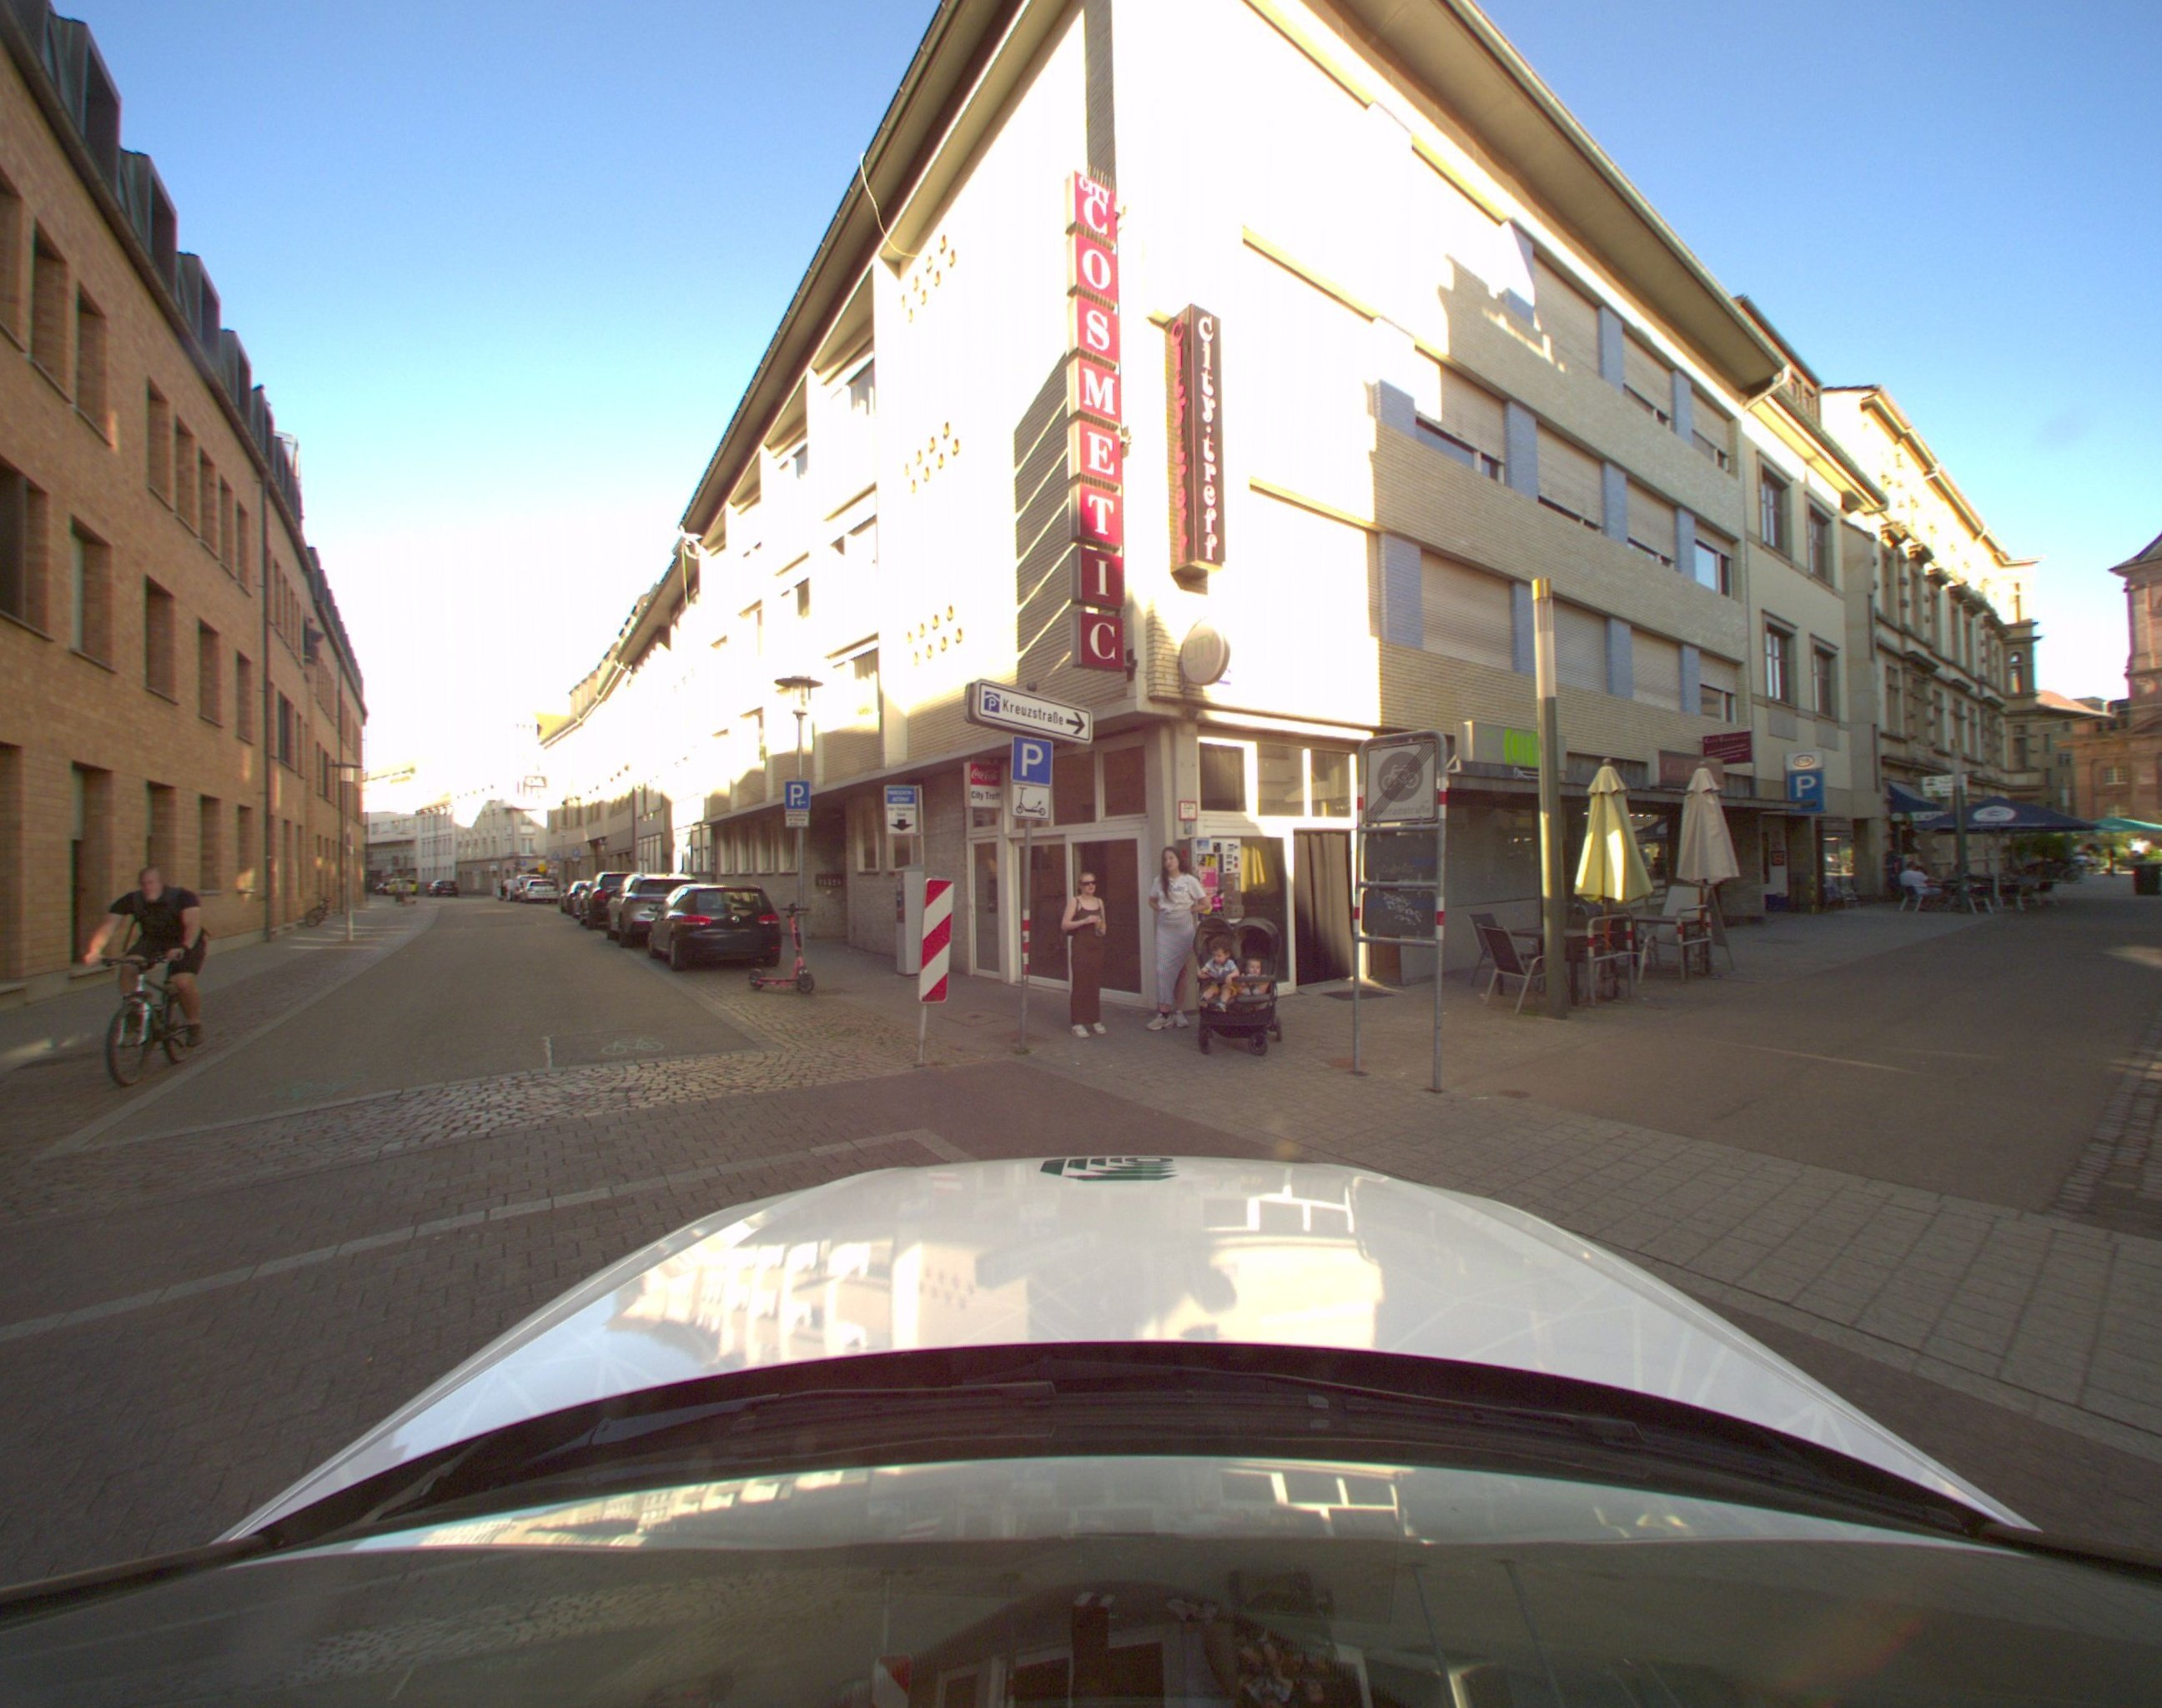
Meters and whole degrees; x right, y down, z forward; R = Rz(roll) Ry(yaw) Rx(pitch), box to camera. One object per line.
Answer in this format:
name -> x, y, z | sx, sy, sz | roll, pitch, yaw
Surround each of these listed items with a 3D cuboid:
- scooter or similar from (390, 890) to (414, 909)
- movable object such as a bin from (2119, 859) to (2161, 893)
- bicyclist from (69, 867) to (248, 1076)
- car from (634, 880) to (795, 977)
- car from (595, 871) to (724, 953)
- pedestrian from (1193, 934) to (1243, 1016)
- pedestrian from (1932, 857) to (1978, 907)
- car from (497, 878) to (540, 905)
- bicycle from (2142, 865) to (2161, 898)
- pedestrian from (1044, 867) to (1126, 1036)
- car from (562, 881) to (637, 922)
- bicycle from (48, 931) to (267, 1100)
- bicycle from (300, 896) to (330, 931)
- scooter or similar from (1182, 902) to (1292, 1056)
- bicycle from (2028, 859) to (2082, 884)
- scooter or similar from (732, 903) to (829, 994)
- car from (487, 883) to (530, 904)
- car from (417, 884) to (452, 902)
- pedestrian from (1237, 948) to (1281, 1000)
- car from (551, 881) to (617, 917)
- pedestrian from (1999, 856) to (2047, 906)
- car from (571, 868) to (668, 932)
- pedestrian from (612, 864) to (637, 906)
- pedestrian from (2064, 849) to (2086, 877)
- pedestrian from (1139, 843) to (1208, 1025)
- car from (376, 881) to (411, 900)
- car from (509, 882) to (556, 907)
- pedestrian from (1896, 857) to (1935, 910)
scooter or similar -> -46.057, 3.096, 55.268 | 0.698, 1.217, 1.351 | -2, -1, -13
movable object such as a bin -> 35.328, 0.727, 27.137 | 0.784, 1.123, 0.895 | 0, -2, -38
bicyclist -> -8.028, 0.967, 7.142 | 0.666, 1.642, 0.917 | -5, 0, -29
car -> -6.970, 1.265, 15.199 | 1.836, 1.505, 4.549 | 3, -3, -35
car -> -10.191, 1.304, 19.481 | 2.008, 1.702, 4.789 | 2, -3, -36
pedestrian -> 1.198, 1.038, 7.075 | 0.328, 0.633, 0.512 | -2, -1, 20
pedestrian -> 24.546, 0.780, 22.875 | 0.553, 1.355, 0.757 | 0, -1, -31
car -> -38.787, 2.568, 56.099 | 1.846, 1.791, 5.151 | 1, -3, -41
bicycle -> 33.143, 0.823, 24.039 | 0.819, 0.983, 2.146 | 0, 0, -32
pedestrian -> 0.034, 0.911, 7.886 | 0.575, 1.540, 0.437 | -3, 0, -28
car -> -18.031, 1.718, 30.385 | 1.821, 1.413, 4.735 | 2, -3, -38
bicycle -> -8.022, 1.331, 7.186 | 0.655, 1.131, 1.719 | -5, 1, -29
bicycle -> -26.959, 2.076, 28.653 | 1.781, 1.163, 0.637 | -2, -4, 44
scooter or similar -> 1.337, 1.062, 7.191 | 0.864, 1.176, 1.047 | -1, 1, 7
bicycle -> 40.754, 0.723, 34.094 | 0.505, 1.003, 1.395 | -1, -1, -6
scooter or similar -> -4.201, 1.295, 11.379 | 1.290, 1.194, 0.497 | -2, -1, 25
car -> -42.607, 2.930, 60.551 | 4.011, 1.518, 1.905 | -2, -2, 44
car -> -64.278, 3.838, 80.967 | 4.048, 1.692, 1.986 | -2, -3, 41
pedestrian -> 1.542, 1.029, 7.040 | 0.328, 0.398, 0.314 | -2, -1, 20
car -> -21.550, 1.892, 35.202 | 1.909, 1.453, 5.166 | 1, -2, -37
pedestrian -> 26.118, 0.731, 22.587 | 0.553, 1.355, 0.757 | 0, -1, -31
car -> -14.482, 1.374, 25.415 | 2.119, 1.786, 4.996 | 1, -2, -36
pedestrian -> -19.816, 1.335, 35.373 | 0.795, 1.721, 0.738 | -3, 0, -37
pedestrian -> 52.448, 0.463, 42.961 | 0.802, 1.450, 0.621 | 0, -2, -43
pedestrian -> 0.927, 0.775, 8.114 | 0.621, 1.736, 0.624 | -1, -1, 8
car -> -77.079, 4.038, 91.273 | 4.120, 2.014, 2.072 | -2, -1, 36
car -> -34.664, 2.548, 51.423 | 1.856, 1.478, 4.118 | 3, -3, -41
pedestrian -> 22.044, 0.778, 21.510 | 0.554, 1.355, 0.658 | 0, -2, -41
